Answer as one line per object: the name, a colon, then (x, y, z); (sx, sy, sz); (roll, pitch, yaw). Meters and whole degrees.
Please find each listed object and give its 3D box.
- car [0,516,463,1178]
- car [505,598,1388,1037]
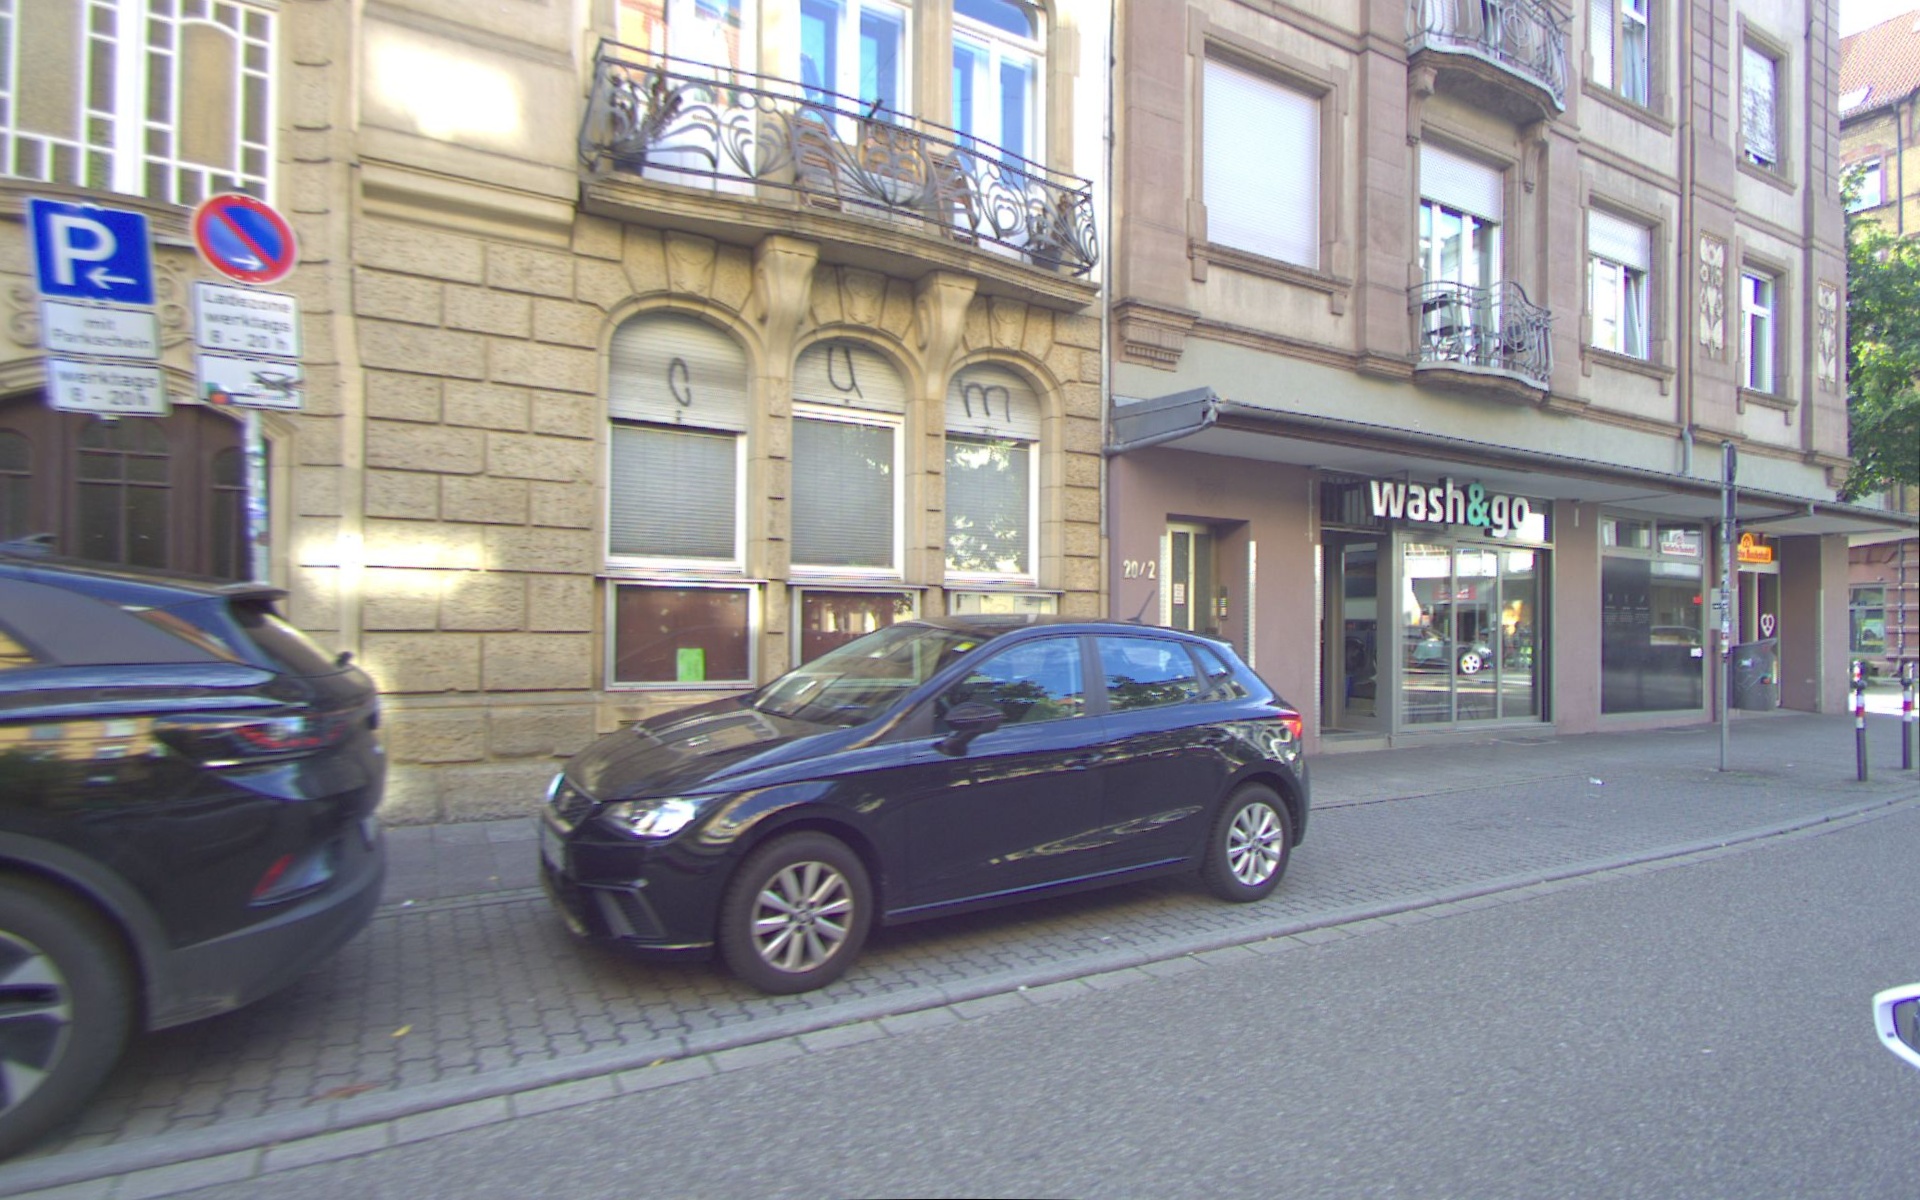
car: (-4.019, 0.593, 2.605); (4.789, 1.650, 1.782); (2, -2, -30)
car: (0.026, 0.781, 5.241); (4.195, 1.439, 1.984); (1, -2, -30)
